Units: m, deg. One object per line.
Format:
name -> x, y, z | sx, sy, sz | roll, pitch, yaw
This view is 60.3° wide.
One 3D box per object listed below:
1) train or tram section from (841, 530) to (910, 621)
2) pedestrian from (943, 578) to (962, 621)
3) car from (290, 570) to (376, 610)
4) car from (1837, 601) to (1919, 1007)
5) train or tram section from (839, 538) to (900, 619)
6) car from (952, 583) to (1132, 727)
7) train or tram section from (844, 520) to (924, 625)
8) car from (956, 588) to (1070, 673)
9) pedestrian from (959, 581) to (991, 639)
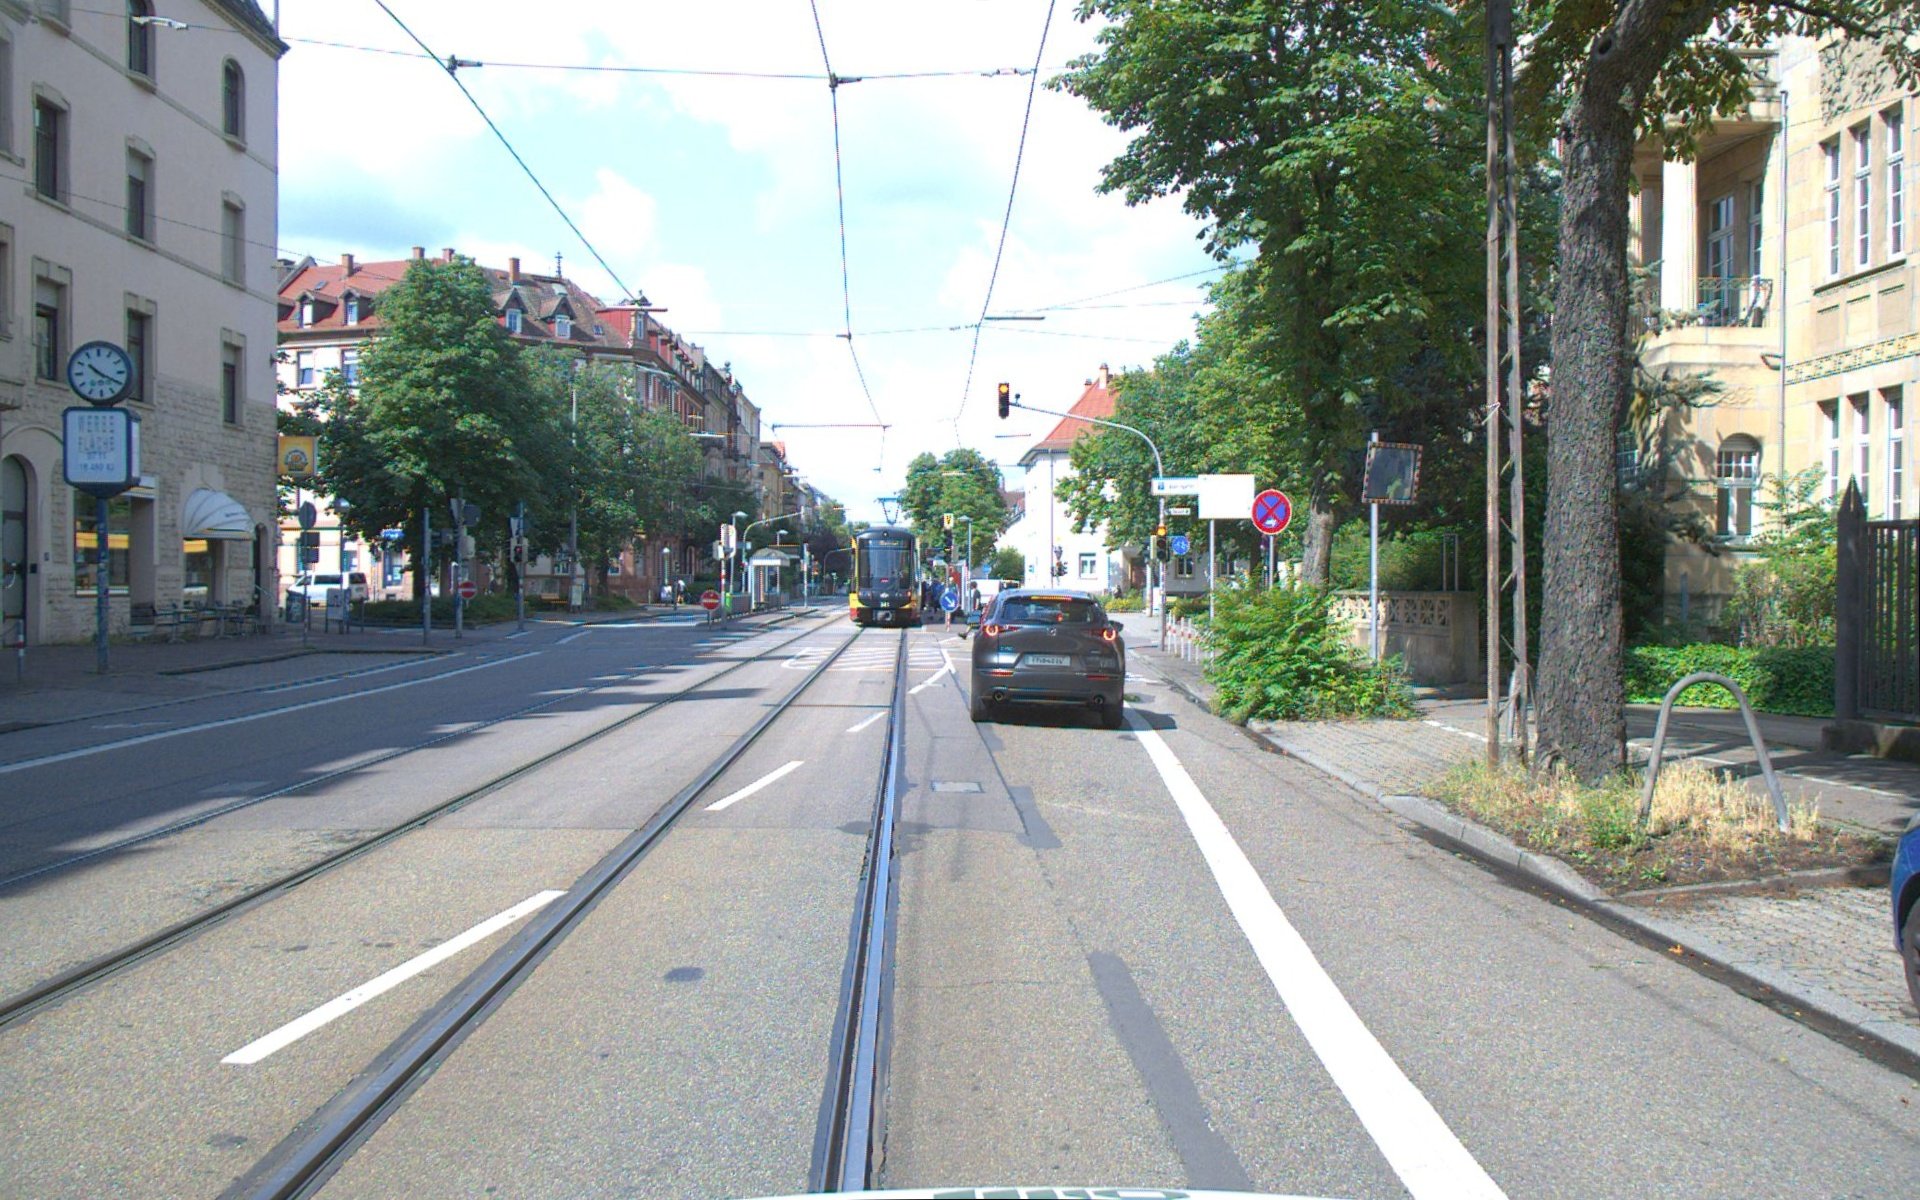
train or tram section -> -3.659, -0.974, 69.996 | 2.600, 3.589, 8.488 | -1, 0, -5
pedestrian -> -0.281, -0.031, 62.785 | 0.654, 1.633, 0.699 | 0, 0, -4
car -> -35.661, -0.554, 94.161 | 4.032, 2.048, 2.002 | -3, 0, 8
car -> 4.450, 0.766, 4.842 | 1.591, 1.522, 3.846 | -2, 1, -2
train or tram section -> -4.373, -0.989, 78.466 | 2.600, 3.589, 8.488 | -1, 0, -5
car -> 0.897, 0.589, 20.327 | 1.754, 1.538, 4.348 | 1, 1, -3
train or tram section -> -2.926, -0.961, 61.523 | 2.600, 3.589, 8.488 | -1, 0, -5
car -> 0.979, 0.543, 32.865 | 1.750, 1.518, 4.879 | 0, 1, -4
pedestrian -> 0.424, 0.281, 46.831 | 0.857, 1.633, 0.631 | 0, 0, -4
